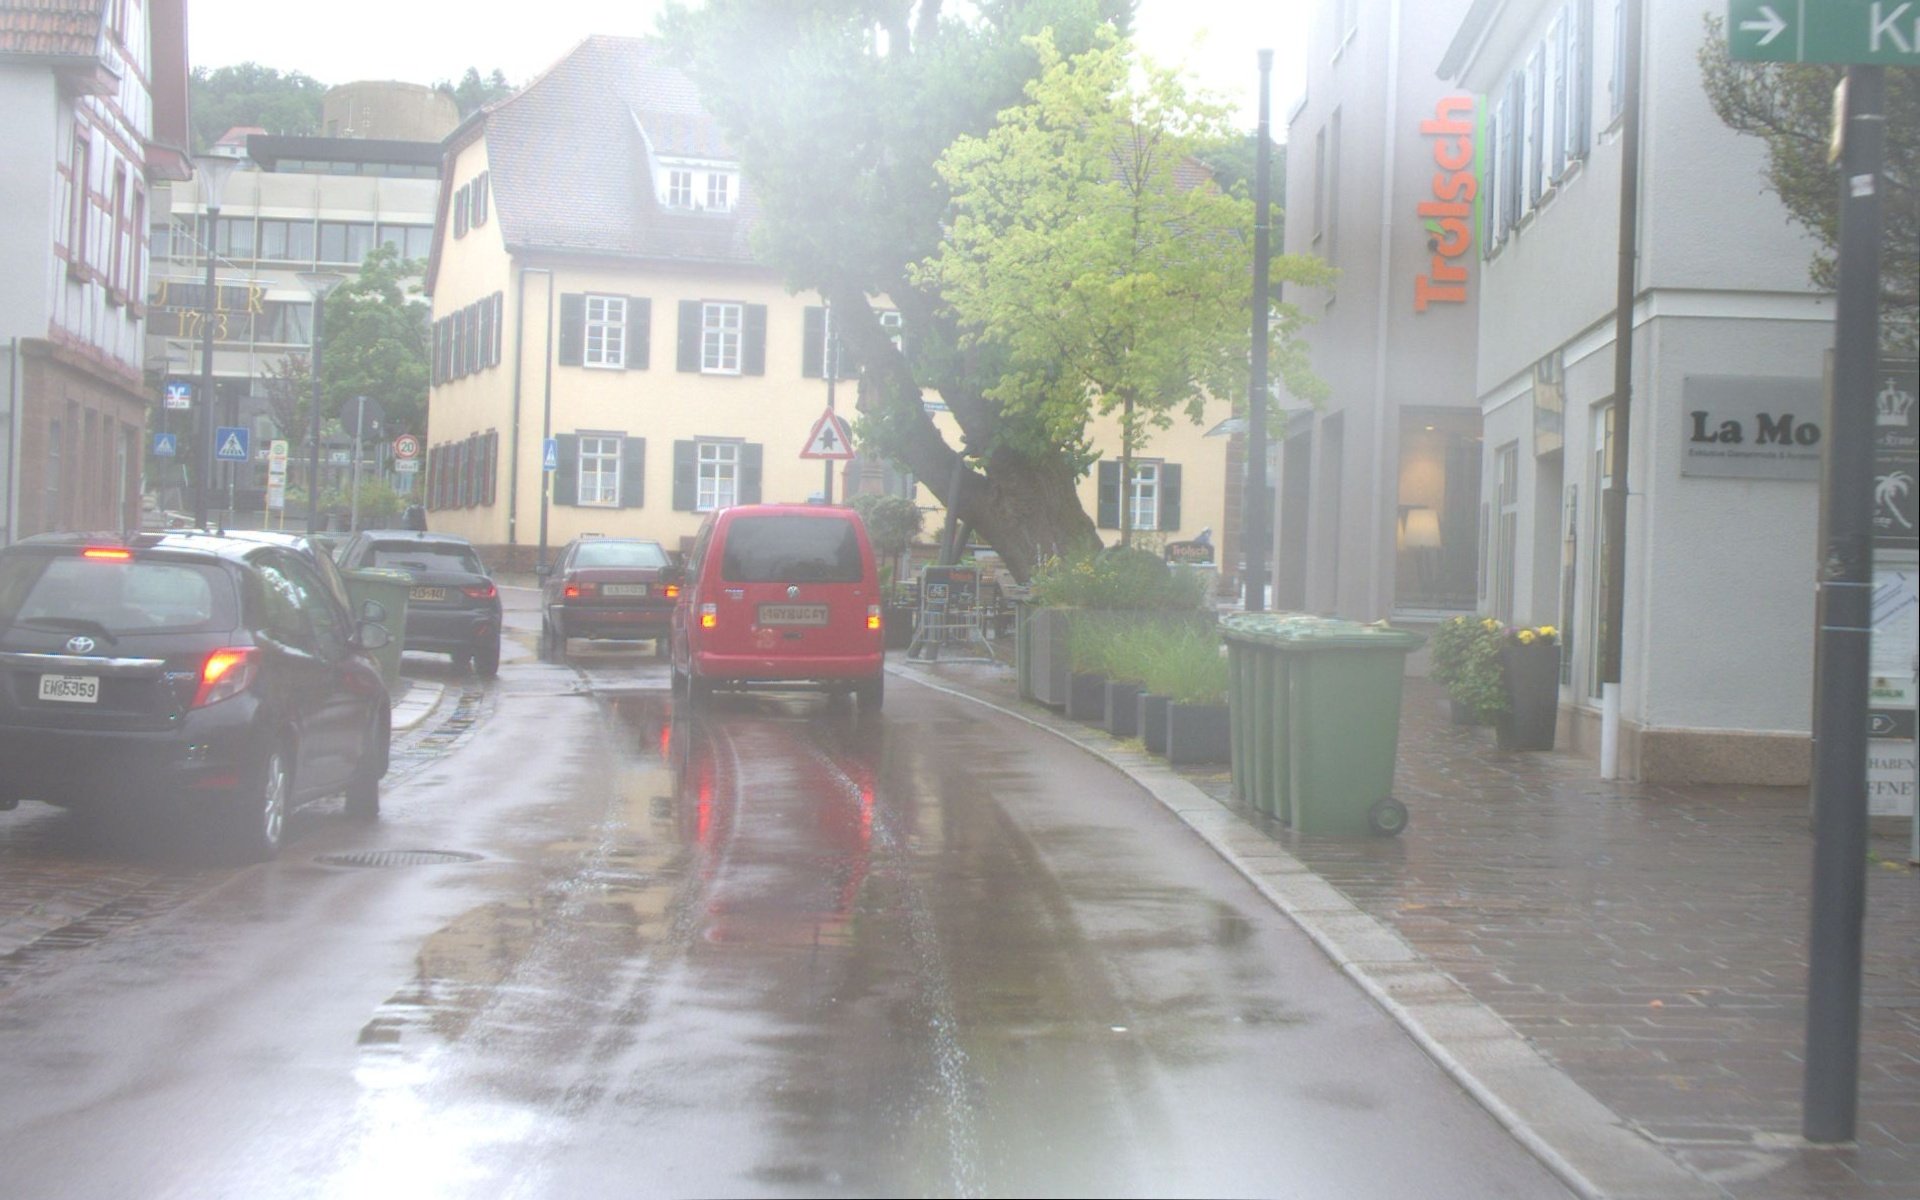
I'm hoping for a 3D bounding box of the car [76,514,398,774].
[{"bbox_3d":[-4.758,0.226,23.089,1.756,1.469,3.945,3,2,-8],"label":"car"}]

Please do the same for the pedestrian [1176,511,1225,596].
[{"bbox_3d":[5.346,-1.029,76.446,0.898,1.836,0.766,3,-1,-2],"label":"pedestrian"}]

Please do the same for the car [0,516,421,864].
[{"bbox_3d":[-3.893,0.354,17.255,1.692,1.438,3.885,3,2,0],"label":"car"}]

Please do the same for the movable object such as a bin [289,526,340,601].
[{"bbox_3d":[-9.911,-0.553,52.793,0.714,1.102,0.600,3,-1,-10],"label":"movable object such as a bin"}]

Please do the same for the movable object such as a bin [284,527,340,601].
[{"bbox_3d":[-10.080,-0.556,53.475,0.794,1.102,0.722,3,-1,-10],"label":"movable object such as a bin"}]

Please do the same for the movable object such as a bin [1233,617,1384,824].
[{"bbox_3d":[1.919,0.660,19.003,0.729,1.087,0.521,3,-1,0],"label":"movable object such as a bin"}]

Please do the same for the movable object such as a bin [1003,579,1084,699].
[{"bbox_3d":[0.789,0.369,32.659,0.631,1.100,0.580,3,-1,-8],"label":"movable object such as a bin"}]

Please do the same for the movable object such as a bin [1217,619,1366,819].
[{"bbox_3d":[1.884,0.670,19.611,0.735,1.094,0.611,3,-1,-1],"label":"movable object such as a bin"}]

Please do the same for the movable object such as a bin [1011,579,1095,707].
[{"bbox_3d":[0.865,0.399,32.070,0.631,1.146,0.580,3,-1,-8],"label":"movable object such as a bin"}]

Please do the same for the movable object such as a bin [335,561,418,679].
[{"bbox_3d":[-5.663,0.194,33.388,0.725,1.106,0.597,3,-1,-8],"label":"movable object such as a bin"}]

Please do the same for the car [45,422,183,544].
[{"bbox_3d":[-20.091,-2.704,81.404,2.299,2.593,6.960,3,-1,-20],"label":"car"}]

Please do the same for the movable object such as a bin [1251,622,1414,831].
[{"bbox_3d":[1.989,0.668,18.413,0.754,1.060,0.600,3,-1,0],"label":"movable object such as a bin"}]

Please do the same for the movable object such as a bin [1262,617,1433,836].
[{"bbox_3d":[1.998,0.645,17.790,0.768,1.076,0.599,3,-1,0],"label":"movable object such as a bin"}]

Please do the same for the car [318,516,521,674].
[{"bbox_3d":[-5.958,-0.091,37.565,1.787,1.490,4.002,3,1,-14],"label":"car"}]

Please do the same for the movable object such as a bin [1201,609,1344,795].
[{"bbox_3d":[1.886,0.608,20.820,0.753,1.086,0.656,1,1,-4],"label":"movable object such as a bin"}]

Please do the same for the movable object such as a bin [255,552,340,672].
[{"bbox_3d":[-6.404,0.116,33.246,0.725,1.106,0.597,3,-1,-8],"label":"movable object such as a bin"}]

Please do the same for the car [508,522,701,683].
[{"bbox_3d":[-4.455,0.032,42.610,1.993,1.793,4.001,3,-1,-10],"label":"car"}]

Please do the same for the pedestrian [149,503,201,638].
[{"bbox_3d":[-10.122,-0.383,44.357,0.518,1.705,0.578,3,-1,-8],"label":"pedestrian"}]

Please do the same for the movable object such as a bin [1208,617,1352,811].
[{"bbox_3d":[1.873,0.662,20.215,0.735,1.094,0.611,3,-1,-1],"label":"movable object such as a bin"}]

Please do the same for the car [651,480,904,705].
[{"bbox_3d":[-1.749,-0.131,31.645,1.893,1.805,4.001,4,2,-8],"label":"car"}]
